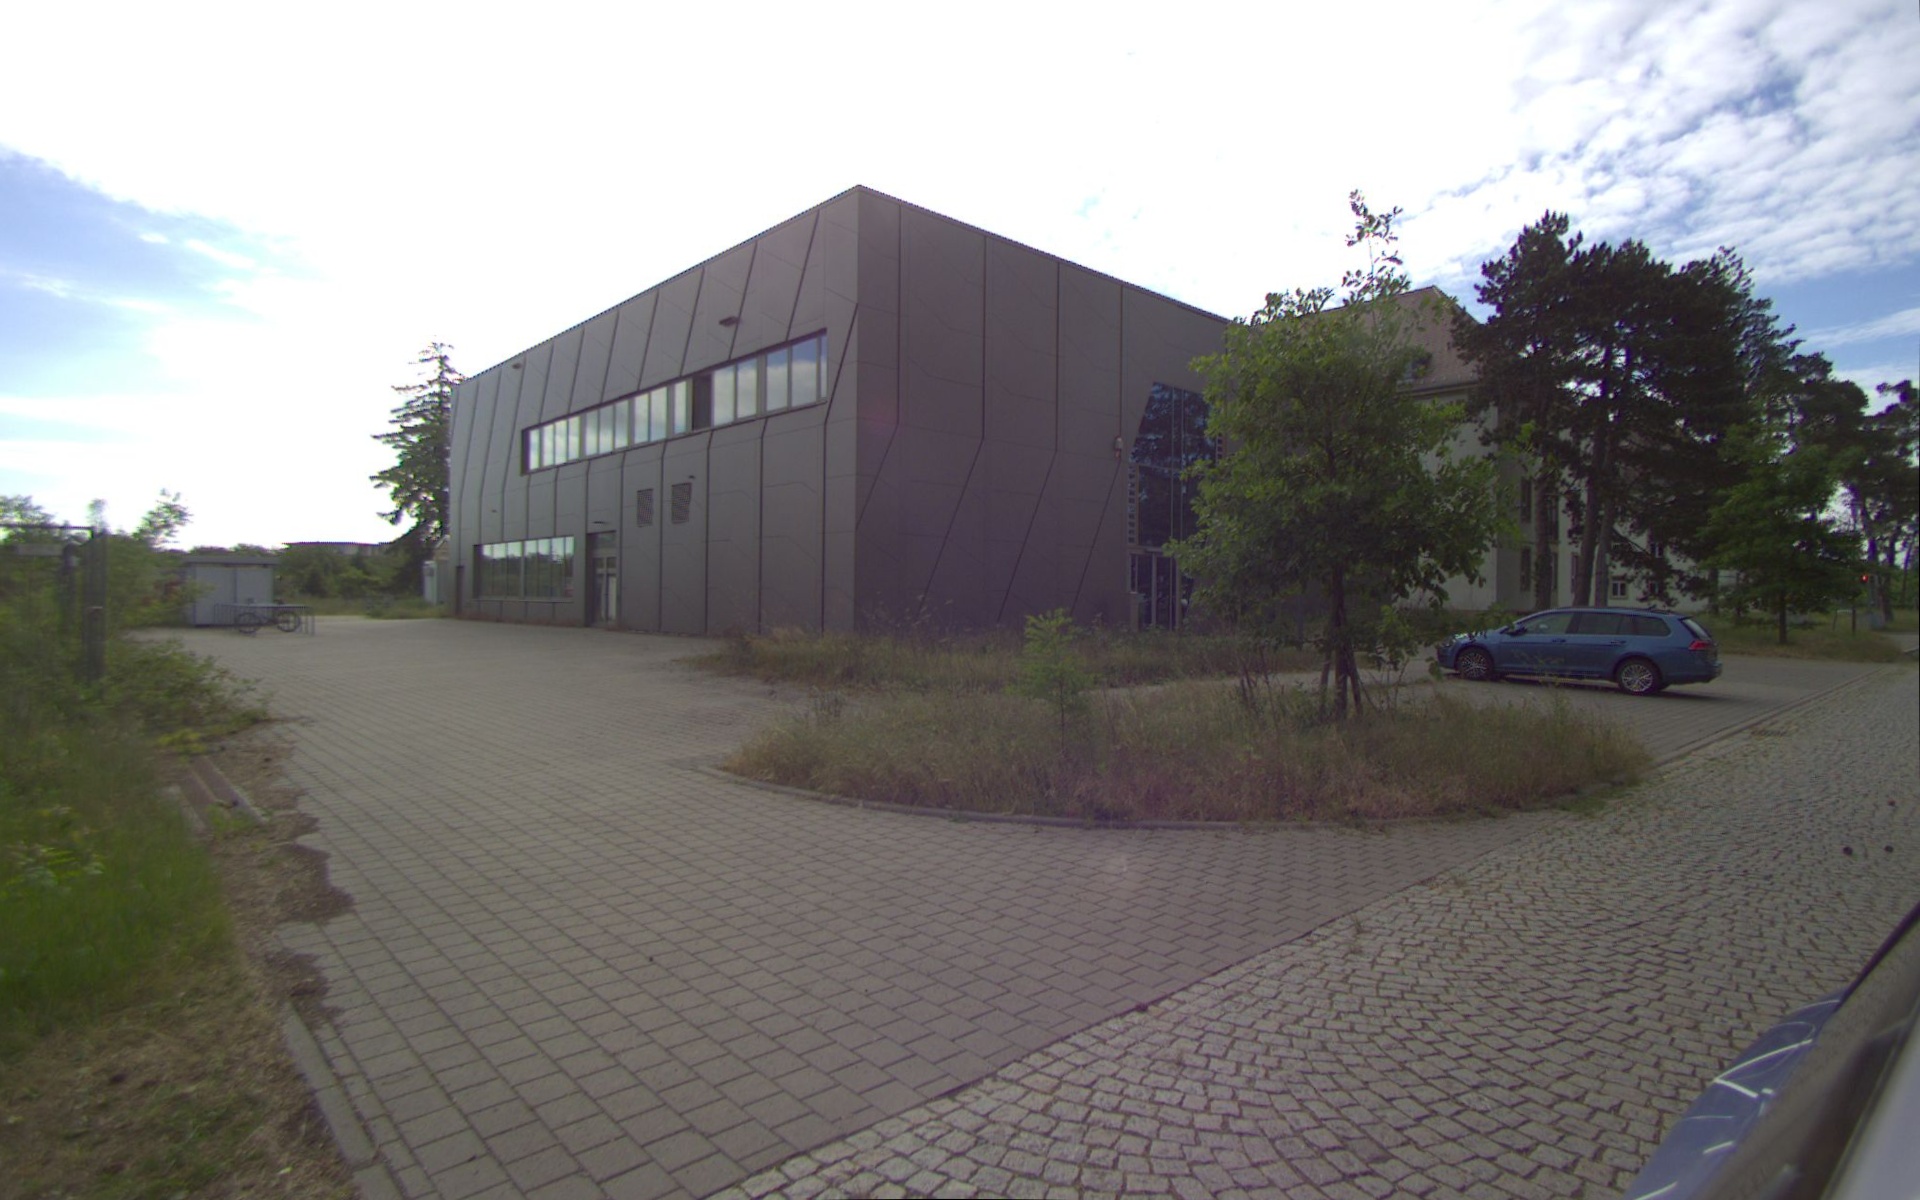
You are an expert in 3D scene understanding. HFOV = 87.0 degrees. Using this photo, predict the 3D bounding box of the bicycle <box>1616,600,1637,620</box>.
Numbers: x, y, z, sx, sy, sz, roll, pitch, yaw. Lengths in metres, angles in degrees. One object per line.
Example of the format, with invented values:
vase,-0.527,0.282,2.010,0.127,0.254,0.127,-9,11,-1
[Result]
bicycle,45.306,0.668,68.821,1.803,1.349,0.572,0,0,-36

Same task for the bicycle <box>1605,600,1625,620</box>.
bicycle,44.800,0.652,69.203,1.803,1.349,0.572,0,0,-36

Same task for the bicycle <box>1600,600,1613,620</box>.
bicycle,44.472,0.661,69.577,0.480,1.349,1.810,0,0,41

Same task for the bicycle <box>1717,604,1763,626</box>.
bicycle,48.292,0.913,62.674,2.148,1.292,0.953,0,0,33

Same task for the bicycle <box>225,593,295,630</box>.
bicycle,-21.751,0.354,31.457,1.733,1.113,0.521,0,-1,-42

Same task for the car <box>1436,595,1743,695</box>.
car,11.472,0.718,18.682,4.523,1.461,1.794,3,2,44

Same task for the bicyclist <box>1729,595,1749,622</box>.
bicyclist,48.253,0.503,62.691,0.911,1.656,0.953,0,0,33

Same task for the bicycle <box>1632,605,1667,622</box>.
bicycle,45.269,0.867,66.434,0.562,1.098,1.836,-2,1,-39
